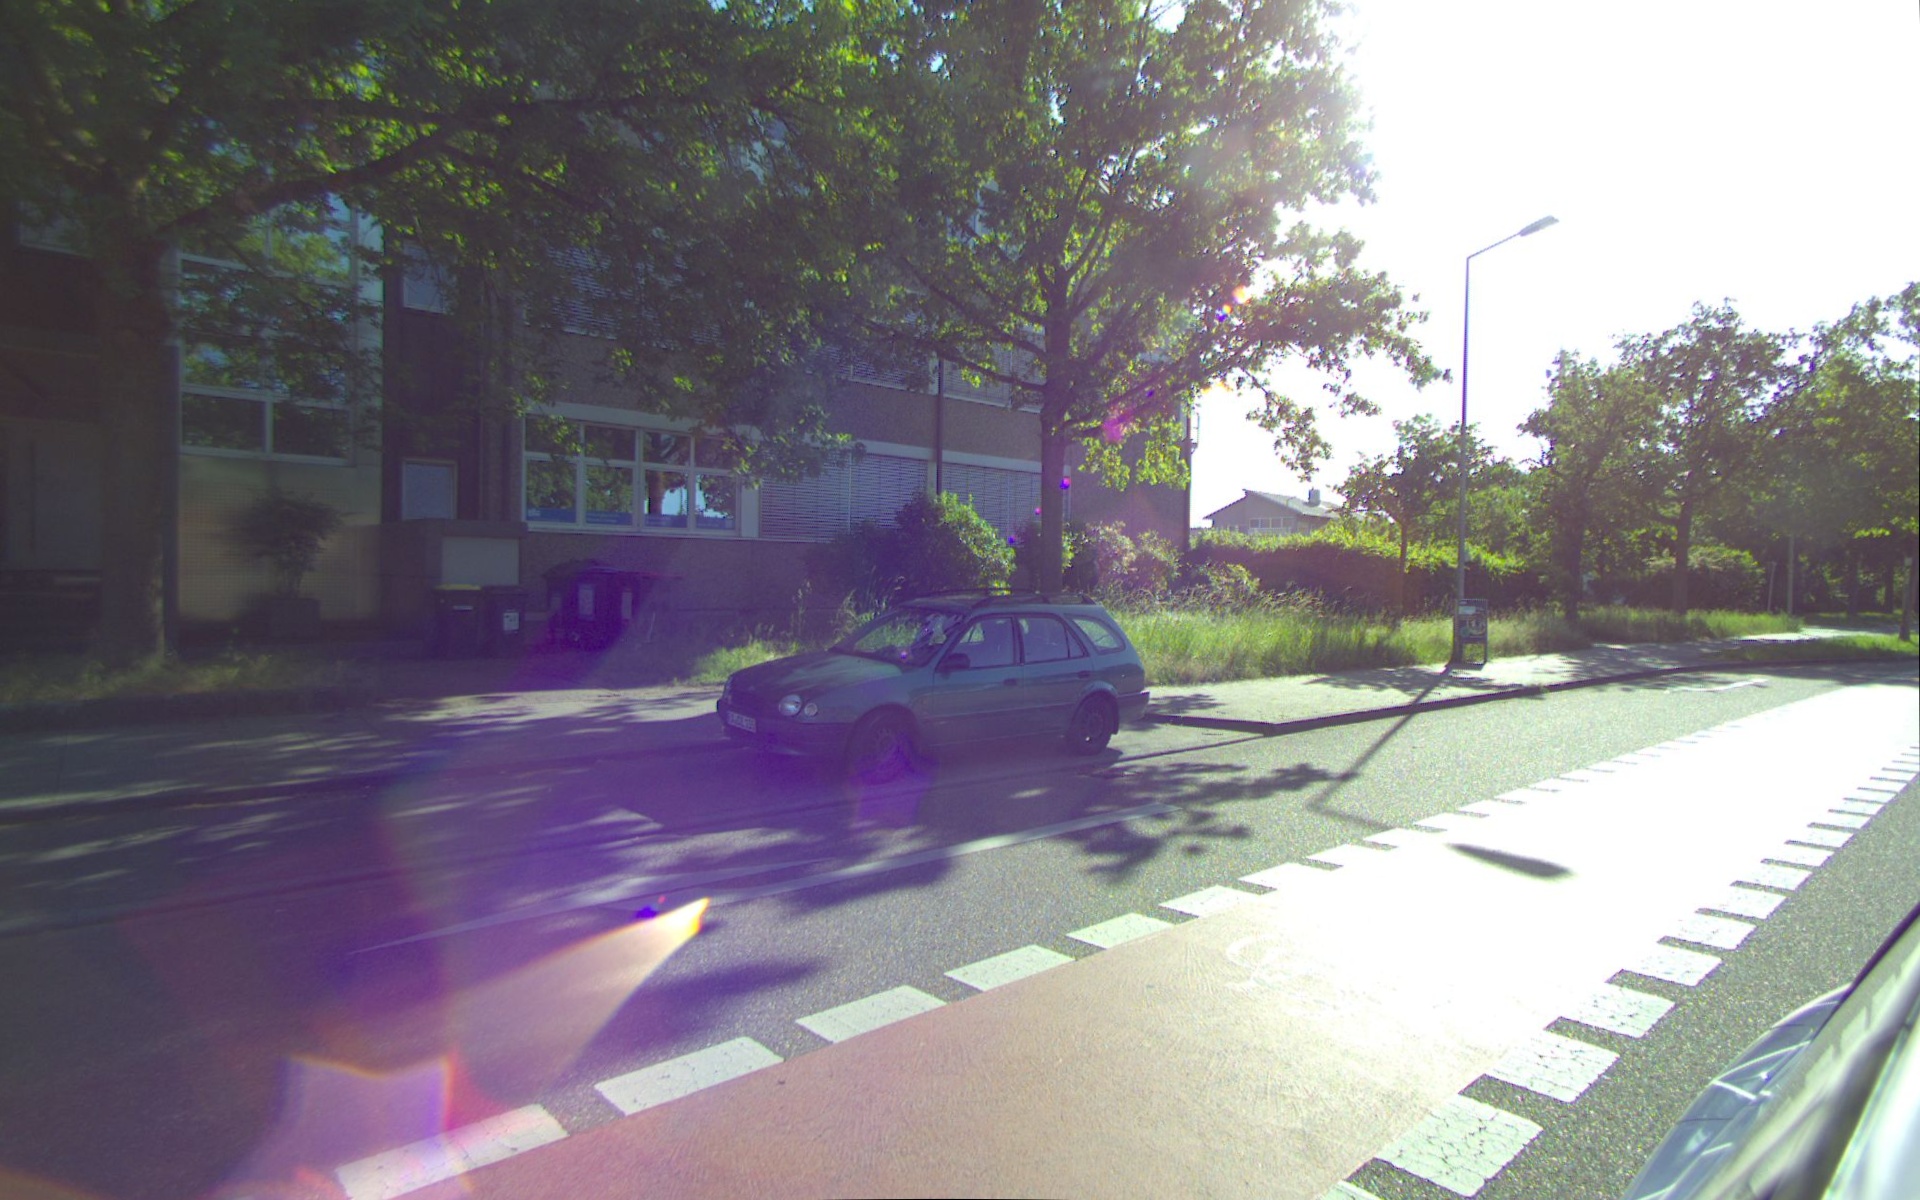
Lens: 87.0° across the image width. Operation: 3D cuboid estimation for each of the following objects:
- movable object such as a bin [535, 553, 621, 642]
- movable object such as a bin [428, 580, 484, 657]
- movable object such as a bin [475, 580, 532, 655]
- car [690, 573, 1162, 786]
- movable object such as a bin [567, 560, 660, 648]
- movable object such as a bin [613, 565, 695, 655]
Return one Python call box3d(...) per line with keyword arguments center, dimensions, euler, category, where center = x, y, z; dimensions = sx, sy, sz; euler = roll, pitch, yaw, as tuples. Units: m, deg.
box3d(center=(-6.781, -0.070, 17.938), dimensions=(1.024, 1.501, 1.309), euler=(0, 2, -41), category="movable object such as a bin")
box3d(center=(-7.215, 0.249, 14.494), dimensions=(0.575, 1.070, 0.625), euler=(0, 1, -42), category="movable object such as a bin")
box3d(center=(-6.759, 0.244, 14.975), dimensions=(0.604, 1.075, 0.634), euler=(0, 1, -42), category="movable object such as a bin")
box3d(center=(-0.145, 0.577, 9.130), dimensions=(4.068, 1.487, 1.705), euler=(1, 1, -41), category="car")
box3d(center=(-5.772, 0.046, 16.858), dimensions=(1.070, 1.388, 1.186), euler=(0, 2, -43), category="movable object such as a bin")
box3d(center=(-4.782, 0.128, 15.771), dimensions=(0.878, 1.323, 1.186), euler=(0, 2, -37), category="movable object such as a bin")
